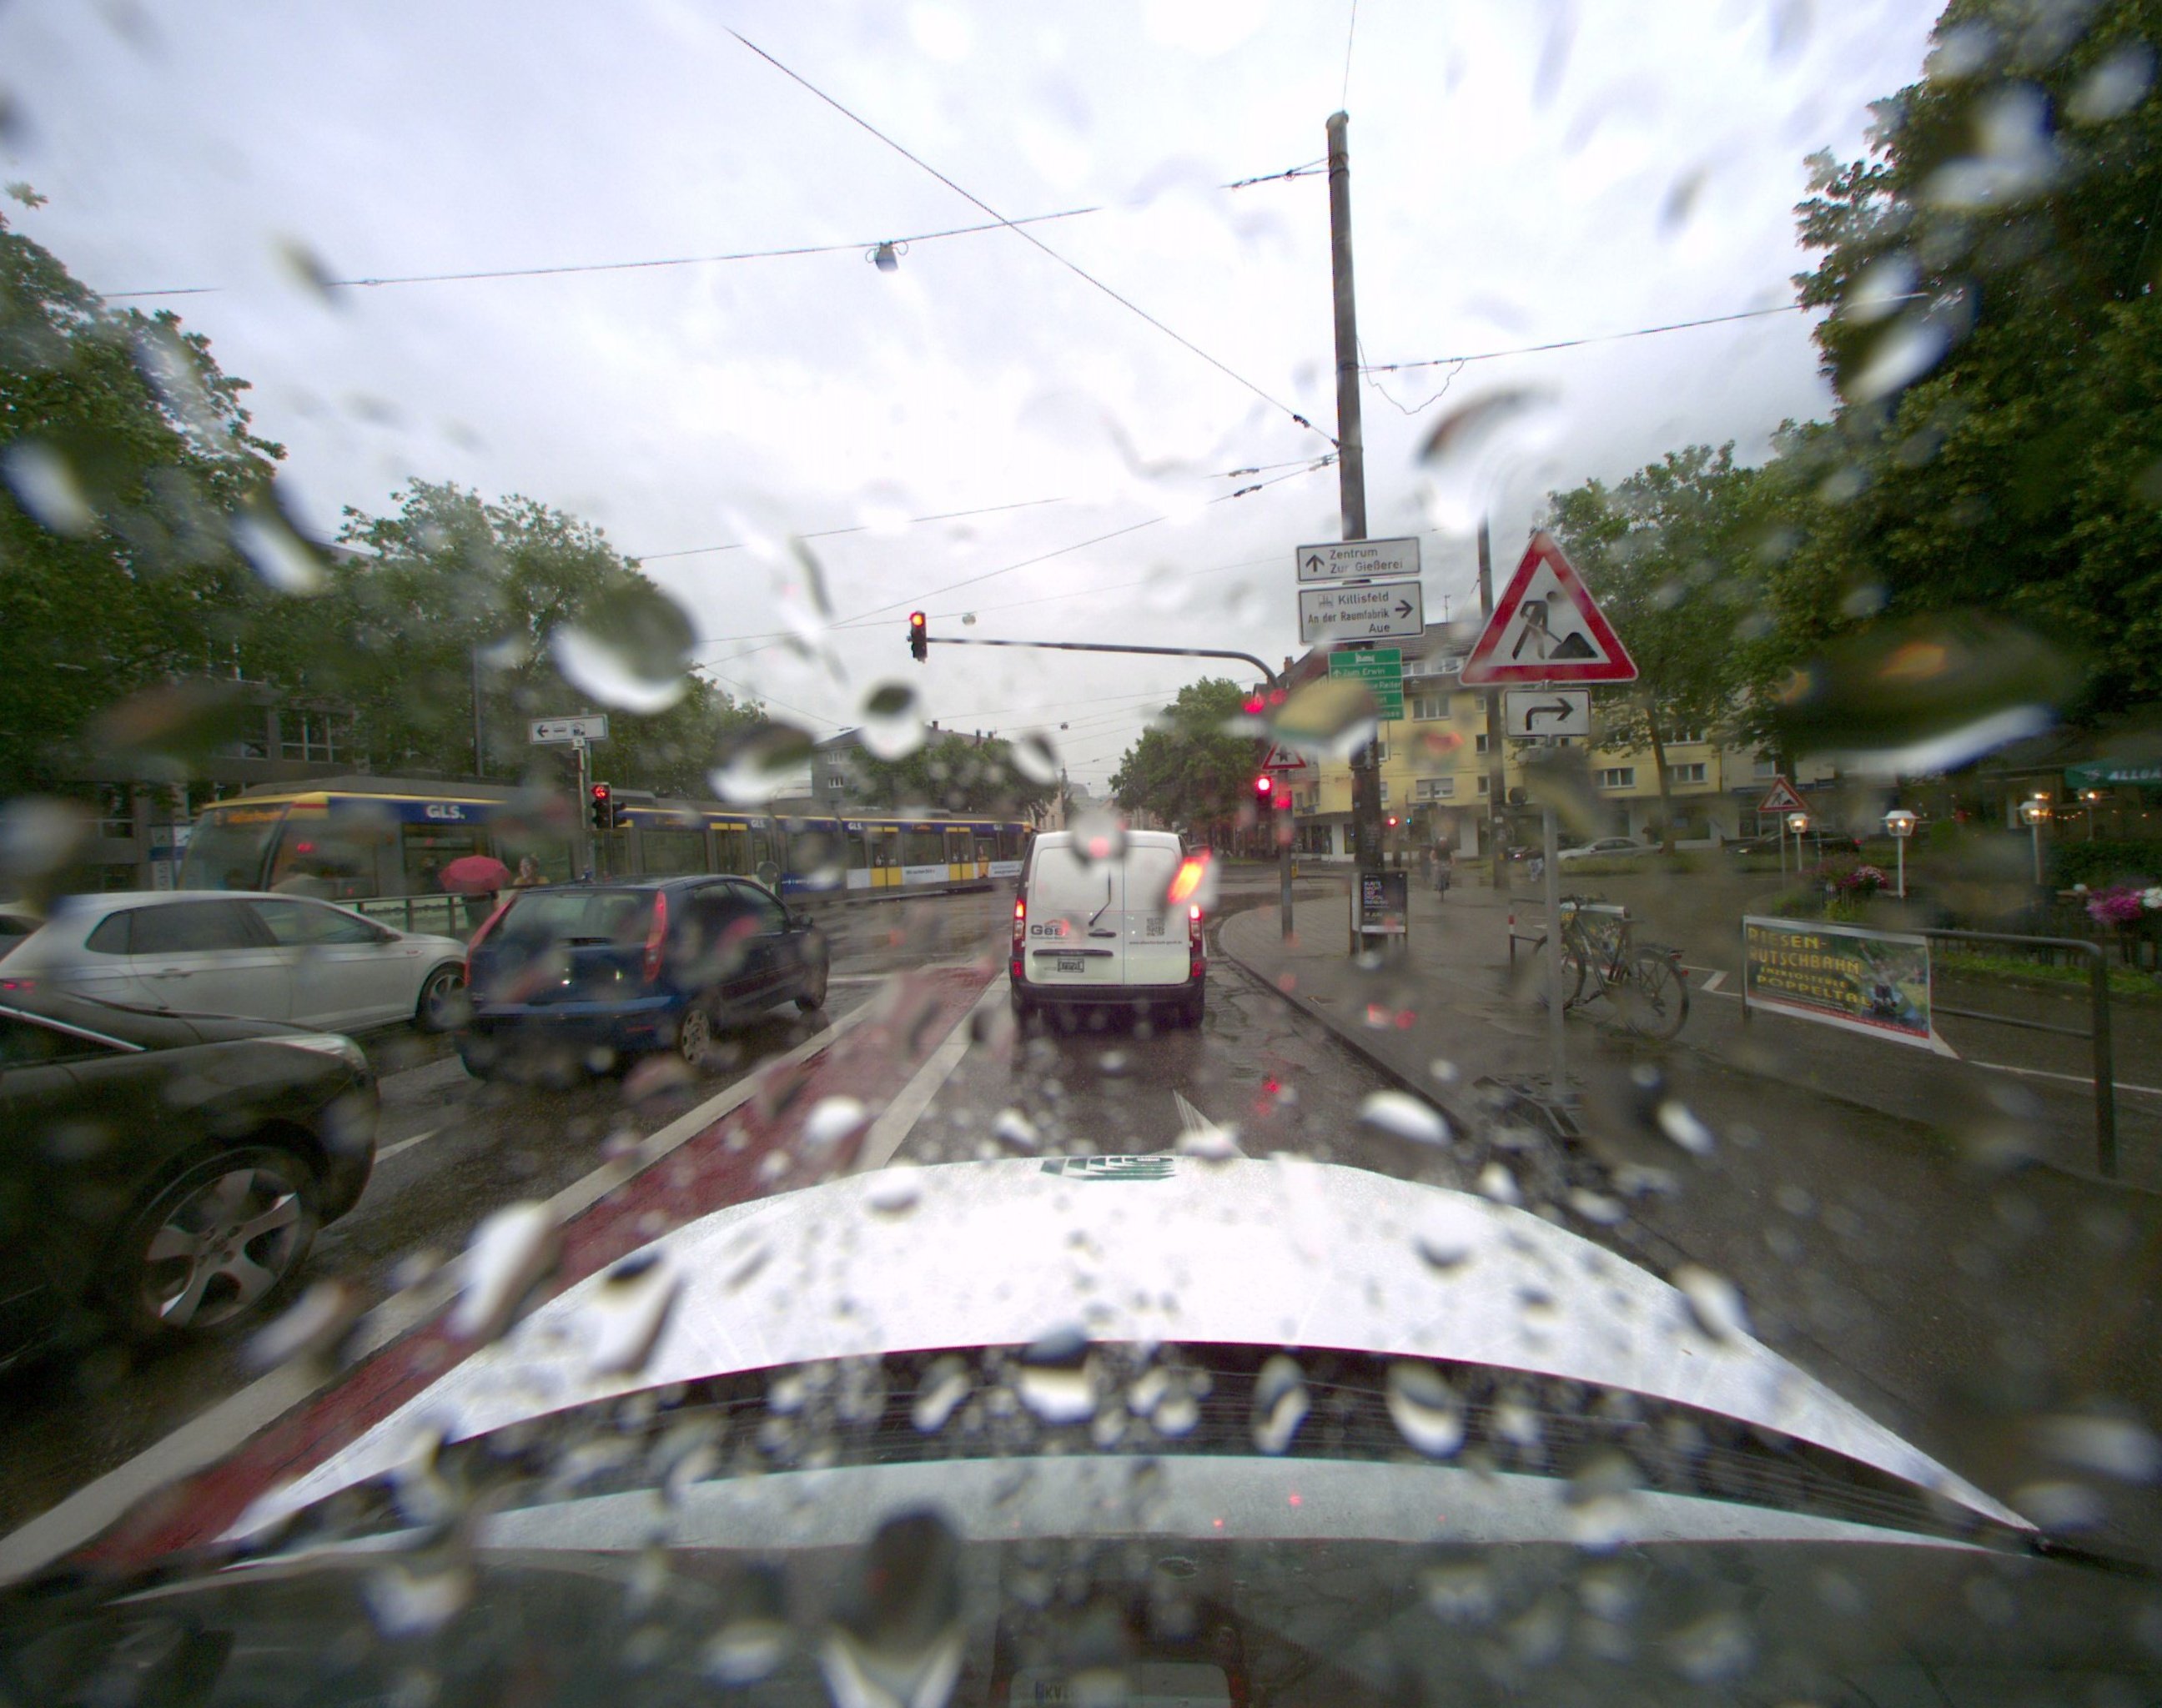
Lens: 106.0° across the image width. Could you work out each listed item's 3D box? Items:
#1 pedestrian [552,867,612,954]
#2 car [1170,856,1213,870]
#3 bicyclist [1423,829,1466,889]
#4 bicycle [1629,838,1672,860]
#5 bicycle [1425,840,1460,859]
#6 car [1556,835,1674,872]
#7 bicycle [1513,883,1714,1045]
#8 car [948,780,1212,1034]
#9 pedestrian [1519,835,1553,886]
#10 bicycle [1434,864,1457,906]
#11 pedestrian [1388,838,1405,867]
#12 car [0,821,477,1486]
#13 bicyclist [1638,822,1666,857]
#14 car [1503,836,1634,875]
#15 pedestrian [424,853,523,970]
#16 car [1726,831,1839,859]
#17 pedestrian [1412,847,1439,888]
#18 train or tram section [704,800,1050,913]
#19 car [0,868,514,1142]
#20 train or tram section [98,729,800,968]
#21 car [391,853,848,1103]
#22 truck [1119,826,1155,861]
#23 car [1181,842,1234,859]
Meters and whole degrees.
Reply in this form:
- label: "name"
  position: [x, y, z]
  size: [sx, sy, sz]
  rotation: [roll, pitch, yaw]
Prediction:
- label: "pedestrian"
  position: [-9.541, 1.058, 15.597]
  size: [0.621, 1.607, 0.744]
  rotation: [-1, 0, 9]
- label: "car"
  position: [9.582, 0.762, 70.612]
  size: [3.437, 1.130, 1.468]
  rotation: [-1, 0, -6]
- label: "bicyclist"
  position: [9.925, 0.136, 22.274]
  size: [0.872, 1.583, 0.863]
  rotation: [-1, 0, 12]
- label: "bicycle"
  position: [26.477, -0.235, 37.865]
  size: [1.631, 1.002, 0.422]
  rotation: [-1, 0, 2]
- label: "bicycle"
  position: [24.324, -0.290, 54.859]
  size: [2.085, 1.261, 0.534]
  rotation: [-1, 1, 16]
- label: "car"
  position: [22.965, -0.028, 35.184]
  size: [3.906, 1.490, 1.815]
  rotation: [-1, 1, 17]
- label: "bicycle"
  position: [4.483, 0.847, 7.047]
  size: [0.512, 1.107, 2.018]
  rotation: [1, 0, 3]
- label: "car"
  position: [0.067, 0.448, 9.106]
  size: [2.092, 2.012, 4.965]
  rotation: [-2, -1, 2]
- label: "pedestrian"
  position: [15.264, 0.224, 27.327]
  size: [0.896, 1.669, 1.026]
  rotation: [-1, 0, 26]
- label: "bicycle"
  position: [9.954, 0.823, 22.286]
  size: [0.455, 1.027, 1.911]
  rotation: [-1, 1, 21]
- label: "pedestrian"
  position: [16.752, -0.084, 43.247]
  size: [0.555, 1.500, 0.616]
  rotation: [-1, -1, -37]
- label: "car"
  position: [-3.651, 0.764, 1.518]
  size: [1.827, 1.668, 4.174]
  rotation: [-1, 0, 2]
- label: "bicyclist"
  position: [26.543, -0.654, 37.876]
  size: [0.811, 1.615, 0.711]
  rotation: [-1, 0, 2]
- label: "car"
  position: [22.852, 0.116, 38.373]
  size: [4.902, 1.643, 2.007]
  rotation: [-1, -3, 14]
- label: "pedestrian"
  position: [-9.701, 0.884, 13.035]
  size: [0.763, 1.746, 0.899]
  rotation: [-4, 1, 1]
- label: "car"
  position: [29.275, -0.369, 34.034]
  size: [3.511, 1.082, 1.248]
  rotation: [-1, 0, 4]
- label: "pedestrian"
  position: [13.047, 0.511, 30.836]
  size: [0.820, 1.534, 0.616]
  rotation: [-1, -1, -37]
- label: "train or tram section"
  position: [-6.811, 0.088, 32.219]
  size: [3.507, 3.413, 15.600]
  rotation: [0, 0, 29]
- label: "car"
  position: [-6.728, 0.902, 6.525]
  size: [1.623, 1.494, 3.783]
  rotation: [-1, 0, 2]
- label: "train or tram section"
  position: [-12.048, -0.067, 19.011]
  size: [3.488, 3.512, 13.710]
  rotation: [0, 0, 14]
- label: "car"
  position: [-3.518, 0.805, 7.144]
  size: [1.720, 1.578, 3.822]
  rotation: [-1, 0, 2]
- label: "truck"
  position: [8.629, -1.473, 127.589]
  size: [3.463, 5.087, 15.283]
  rotation: [-1, 0, -4]
- label: "car"
  position: [10.701, -0.315, 68.913]
  size: [4.160, 1.339, 1.518]
  rotation: [-2, 1, -6]
